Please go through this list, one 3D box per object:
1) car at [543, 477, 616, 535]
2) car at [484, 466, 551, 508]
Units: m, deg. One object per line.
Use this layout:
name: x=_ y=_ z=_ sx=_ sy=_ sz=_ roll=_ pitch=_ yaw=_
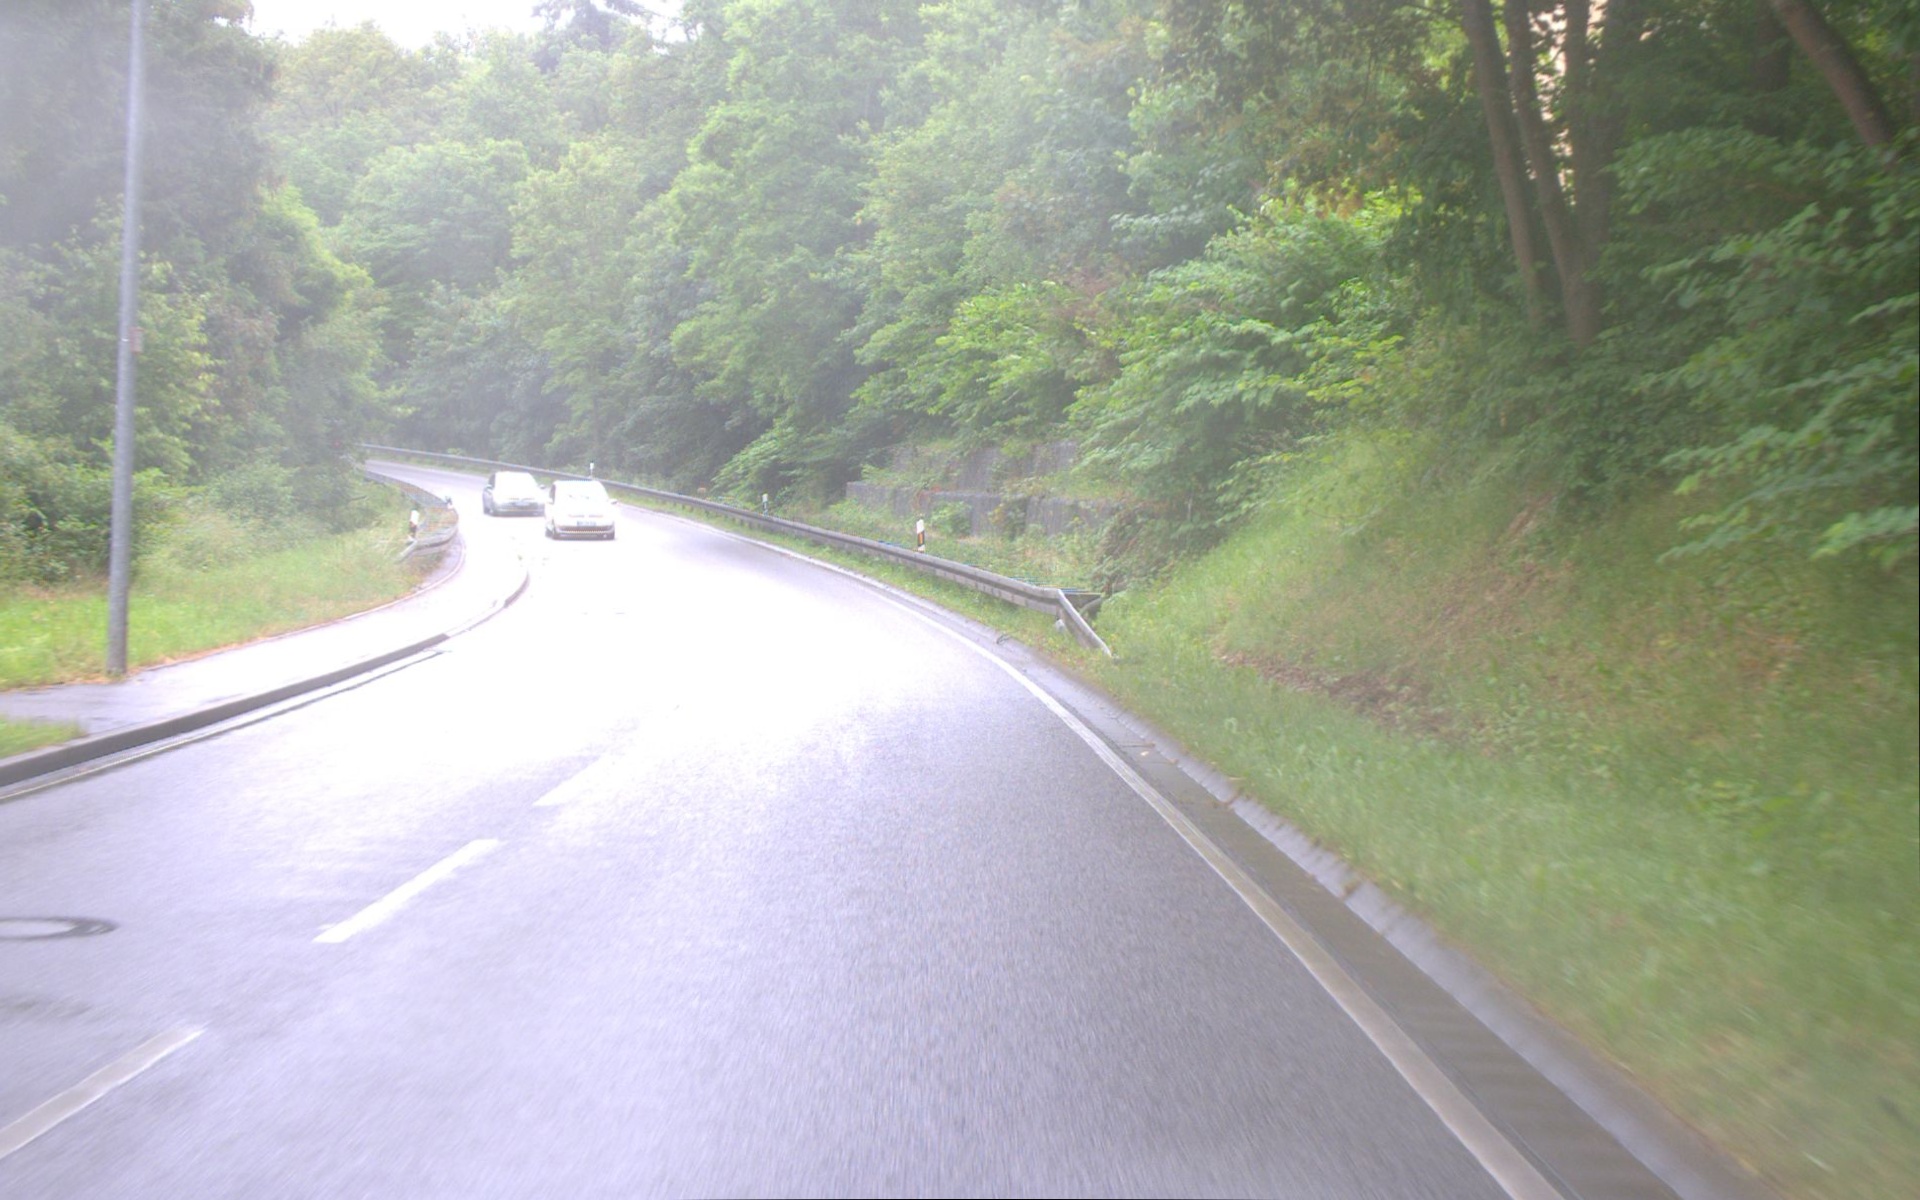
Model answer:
car: x=-11.028 y=-2.721 z=99.559 sx=1.814 sy=1.642 sz=4.133 roll=0 pitch=2 yaw=-10
car: x=-15.293 y=-3.882 z=118.659 sx=1.814 sy=1.429 sz=4.001 roll=0 pitch=2 yaw=-14
